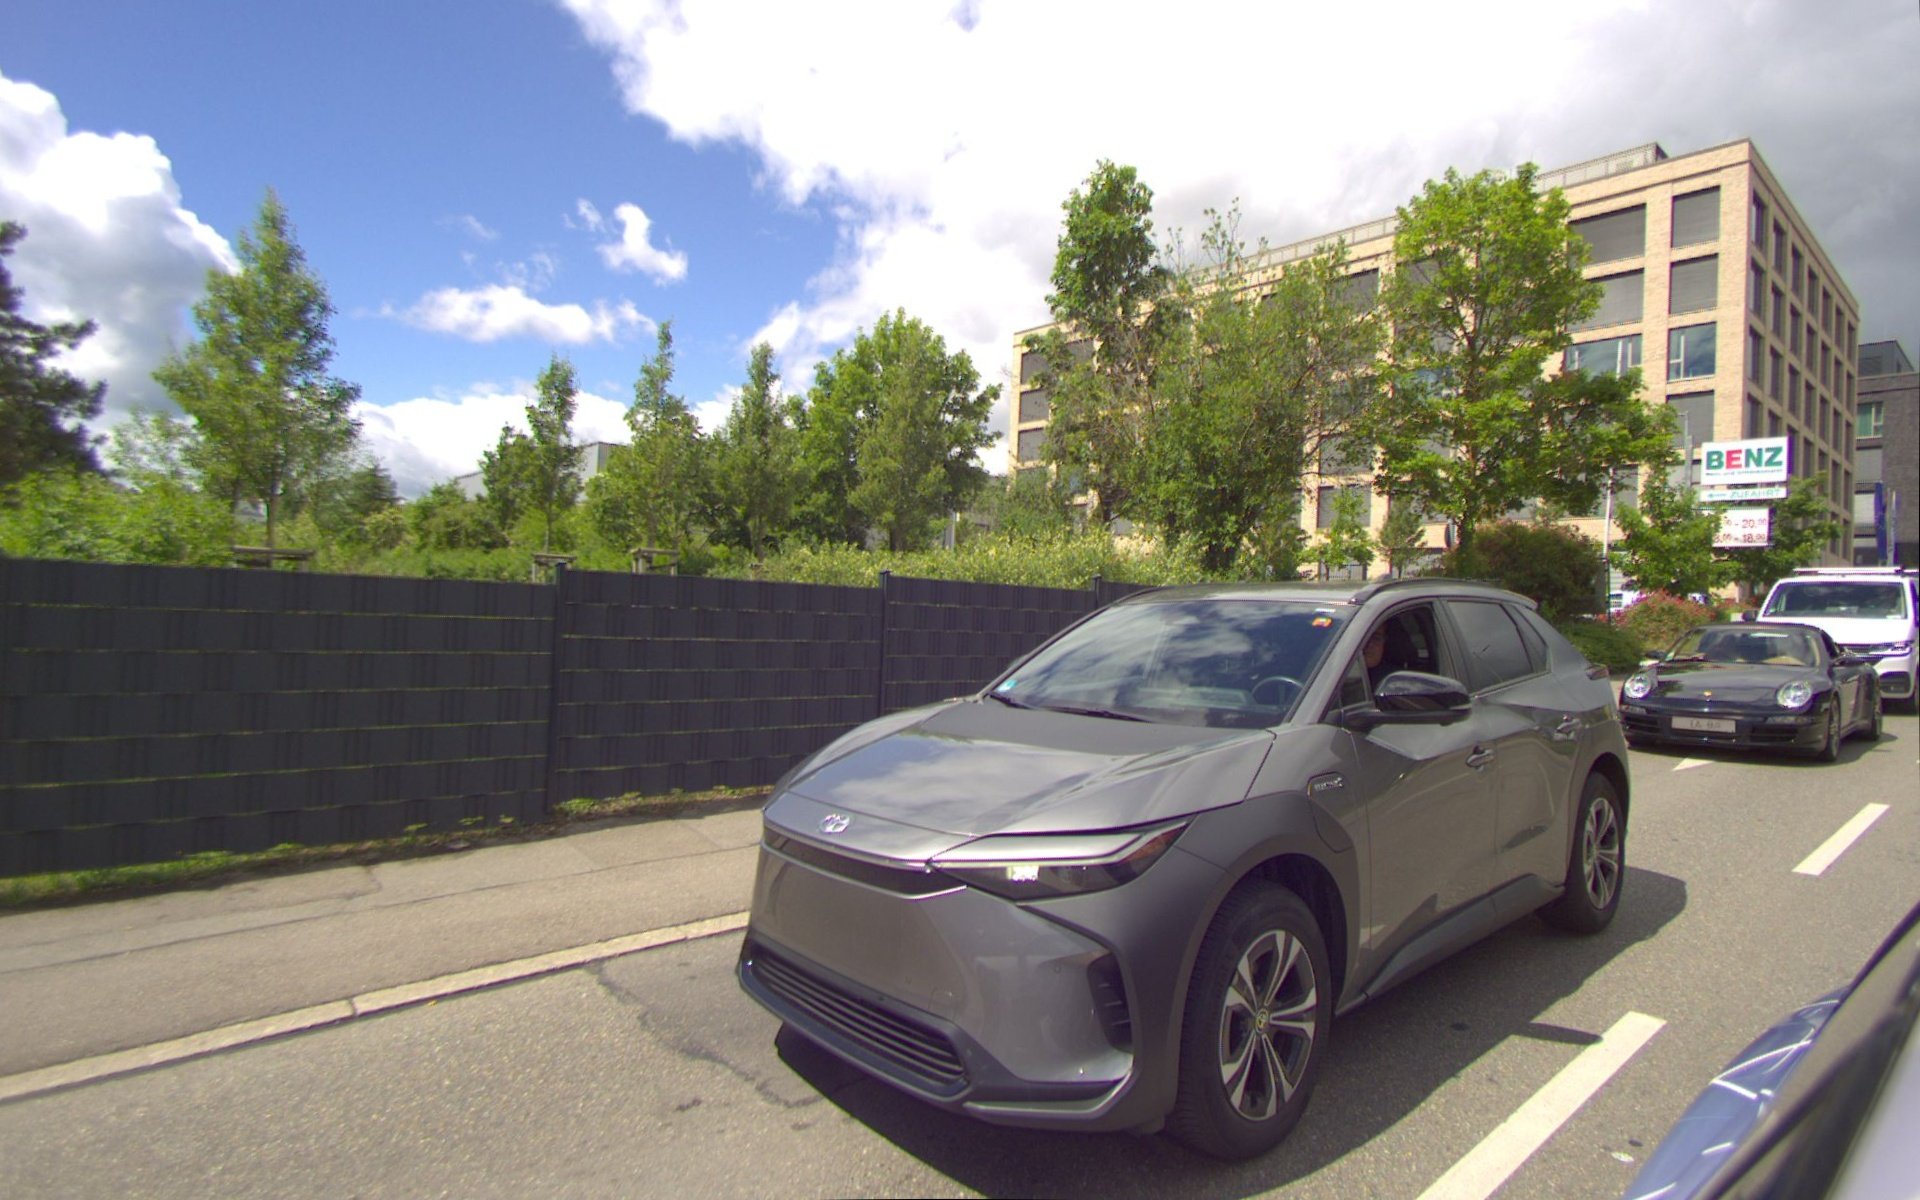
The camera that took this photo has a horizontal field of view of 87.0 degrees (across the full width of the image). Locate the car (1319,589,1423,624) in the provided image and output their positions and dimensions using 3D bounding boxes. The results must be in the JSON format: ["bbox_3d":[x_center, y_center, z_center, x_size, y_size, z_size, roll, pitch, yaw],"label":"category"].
[{"bbox_3d":[19.395,0.280,47.854,1.705,1.436,4.215,1,1,-41],"label":"car"}]

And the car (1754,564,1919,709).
[{"bbox_3d":[13.597,0.487,15.069,4.563,1.874,1.962,0,-1,-41],"label":"car"}]

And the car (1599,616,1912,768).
[{"bbox_3d":[8.712,0.830,10.934,4.487,1.290,1.776,0,-1,-40],"label":"car"}]

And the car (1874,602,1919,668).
[{"bbox_3d":[21.376,0.726,21.783,4.485,1.290,1.777,0,1,-38],"label":"car"}]

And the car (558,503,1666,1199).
[{"bbox_3d":[1.039,0.657,4.100,4.601,1.634,1.922,0,-1,-41],"label":"car"}]

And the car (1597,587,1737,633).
[{"bbox_3d":[27.353,0.345,39.255,1.707,1.596,4.211,1,1,-44],"label":"car"}]
